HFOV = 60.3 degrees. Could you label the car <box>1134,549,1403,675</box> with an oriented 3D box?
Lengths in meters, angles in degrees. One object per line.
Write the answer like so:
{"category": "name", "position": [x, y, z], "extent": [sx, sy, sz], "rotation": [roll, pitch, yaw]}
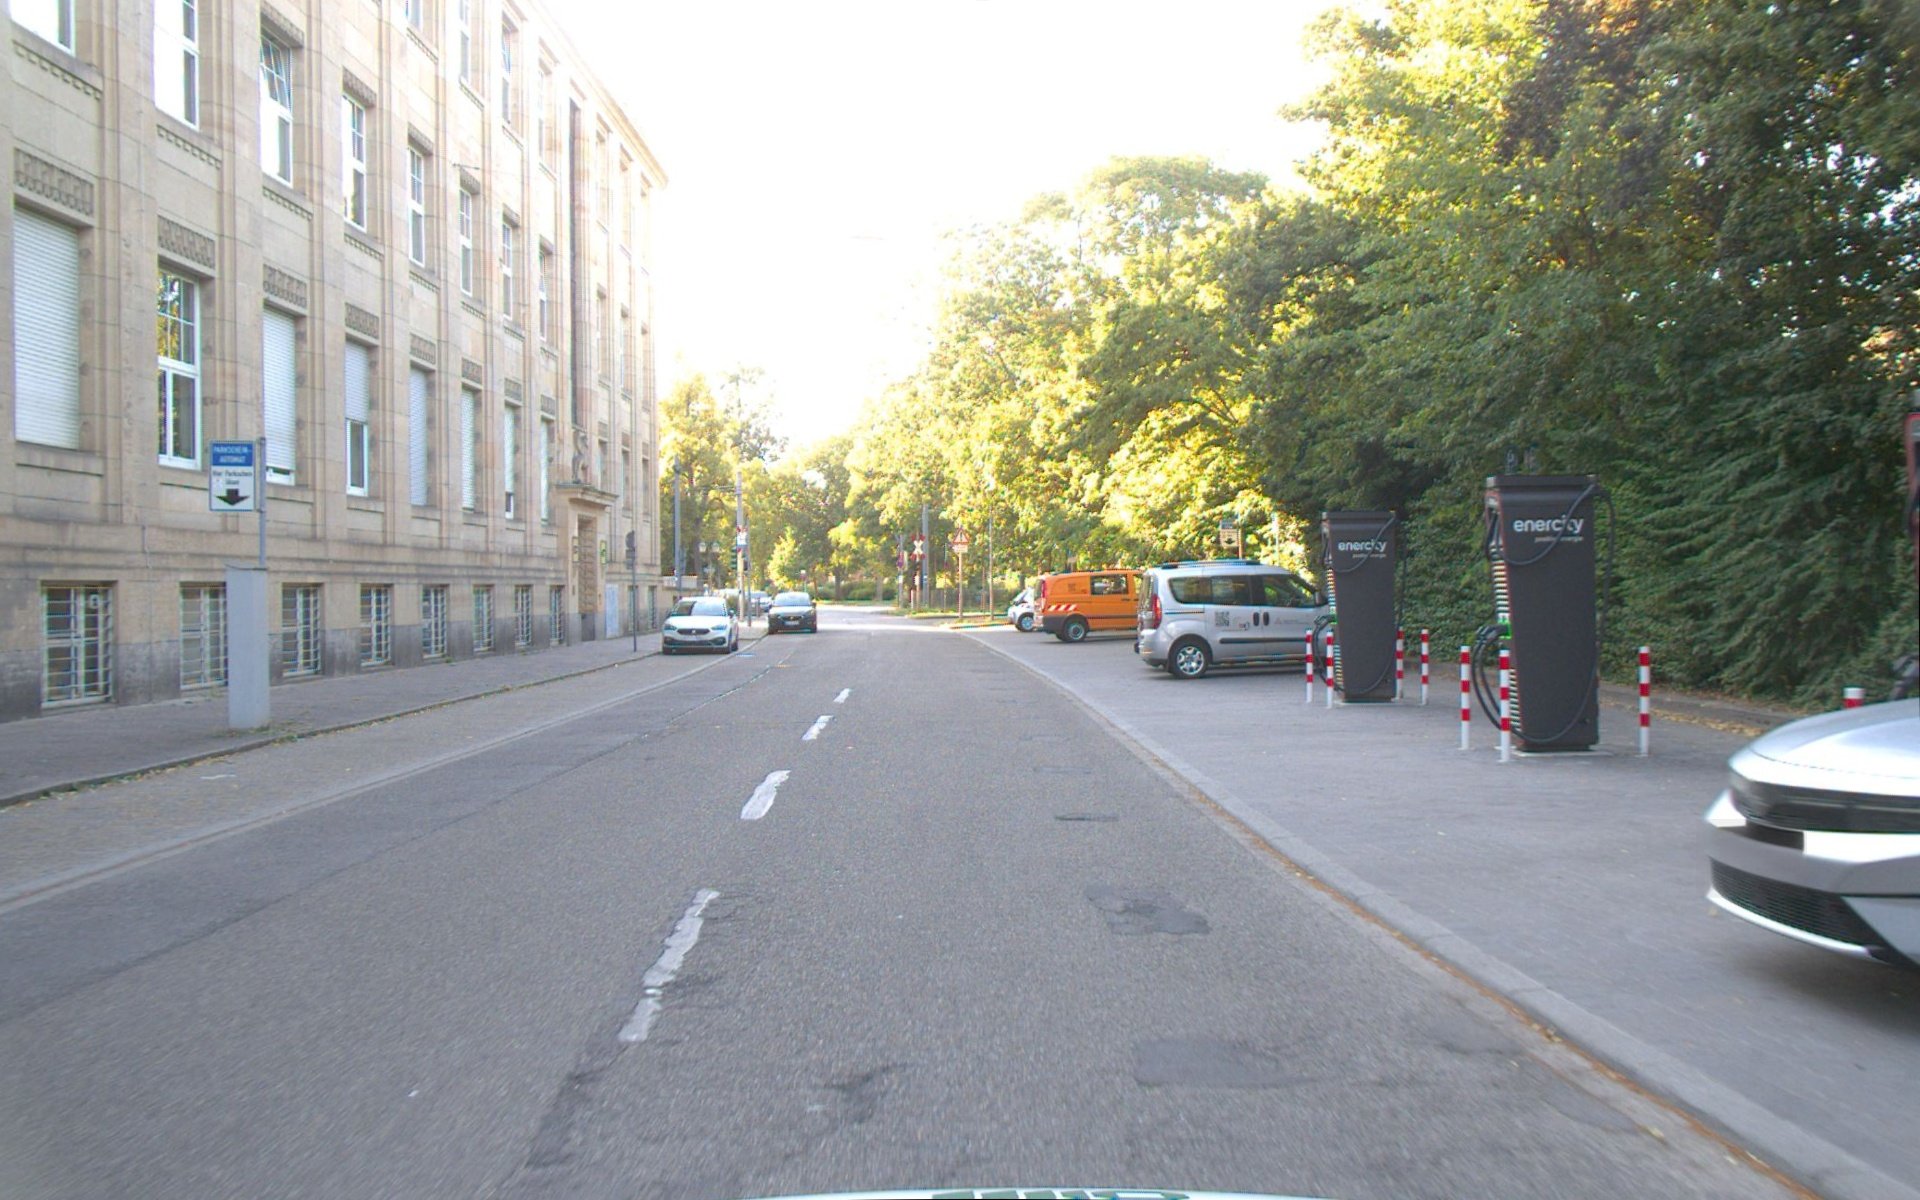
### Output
{"category": "car", "position": [5.171, 0.204, 28.165], "extent": [4.142, 1.892, 2.000], "rotation": [-2, 0, 0]}

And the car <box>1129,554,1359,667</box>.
{"category": "car", "position": [5.235, 0.182, 30.801], "extent": [3.941, 1.867, 1.614], "rotation": [-2, 0, 0]}

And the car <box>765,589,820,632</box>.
{"category": "car", "position": [-6.165, 0.360, 61.211], "extent": [1.841, 1.492, 4.370], "rotation": [-1, 1, -4]}

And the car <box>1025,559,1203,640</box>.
{"category": "car", "position": [4.393, -0.031, 47.517], "extent": [4.728, 2.048, 1.799], "rotation": [-3, 0, -8]}

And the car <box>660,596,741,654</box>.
{"category": "car", "position": [-6.830, 0.626, 43.875], "extent": [1.693, 1.421, 4.370], "rotation": [-1, 0, -3]}

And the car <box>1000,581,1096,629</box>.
{"category": "car", "position": [3.079, 0.170, 57.992], "extent": [3.084, 1.529, 1.538], "rotation": [-3, 0, -8]}

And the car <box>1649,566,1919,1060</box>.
{"category": "car", "position": [5.070, 0.575, 6.025], "extent": [4.351, 1.495, 1.782], "rotation": [-2, 0, -2]}
